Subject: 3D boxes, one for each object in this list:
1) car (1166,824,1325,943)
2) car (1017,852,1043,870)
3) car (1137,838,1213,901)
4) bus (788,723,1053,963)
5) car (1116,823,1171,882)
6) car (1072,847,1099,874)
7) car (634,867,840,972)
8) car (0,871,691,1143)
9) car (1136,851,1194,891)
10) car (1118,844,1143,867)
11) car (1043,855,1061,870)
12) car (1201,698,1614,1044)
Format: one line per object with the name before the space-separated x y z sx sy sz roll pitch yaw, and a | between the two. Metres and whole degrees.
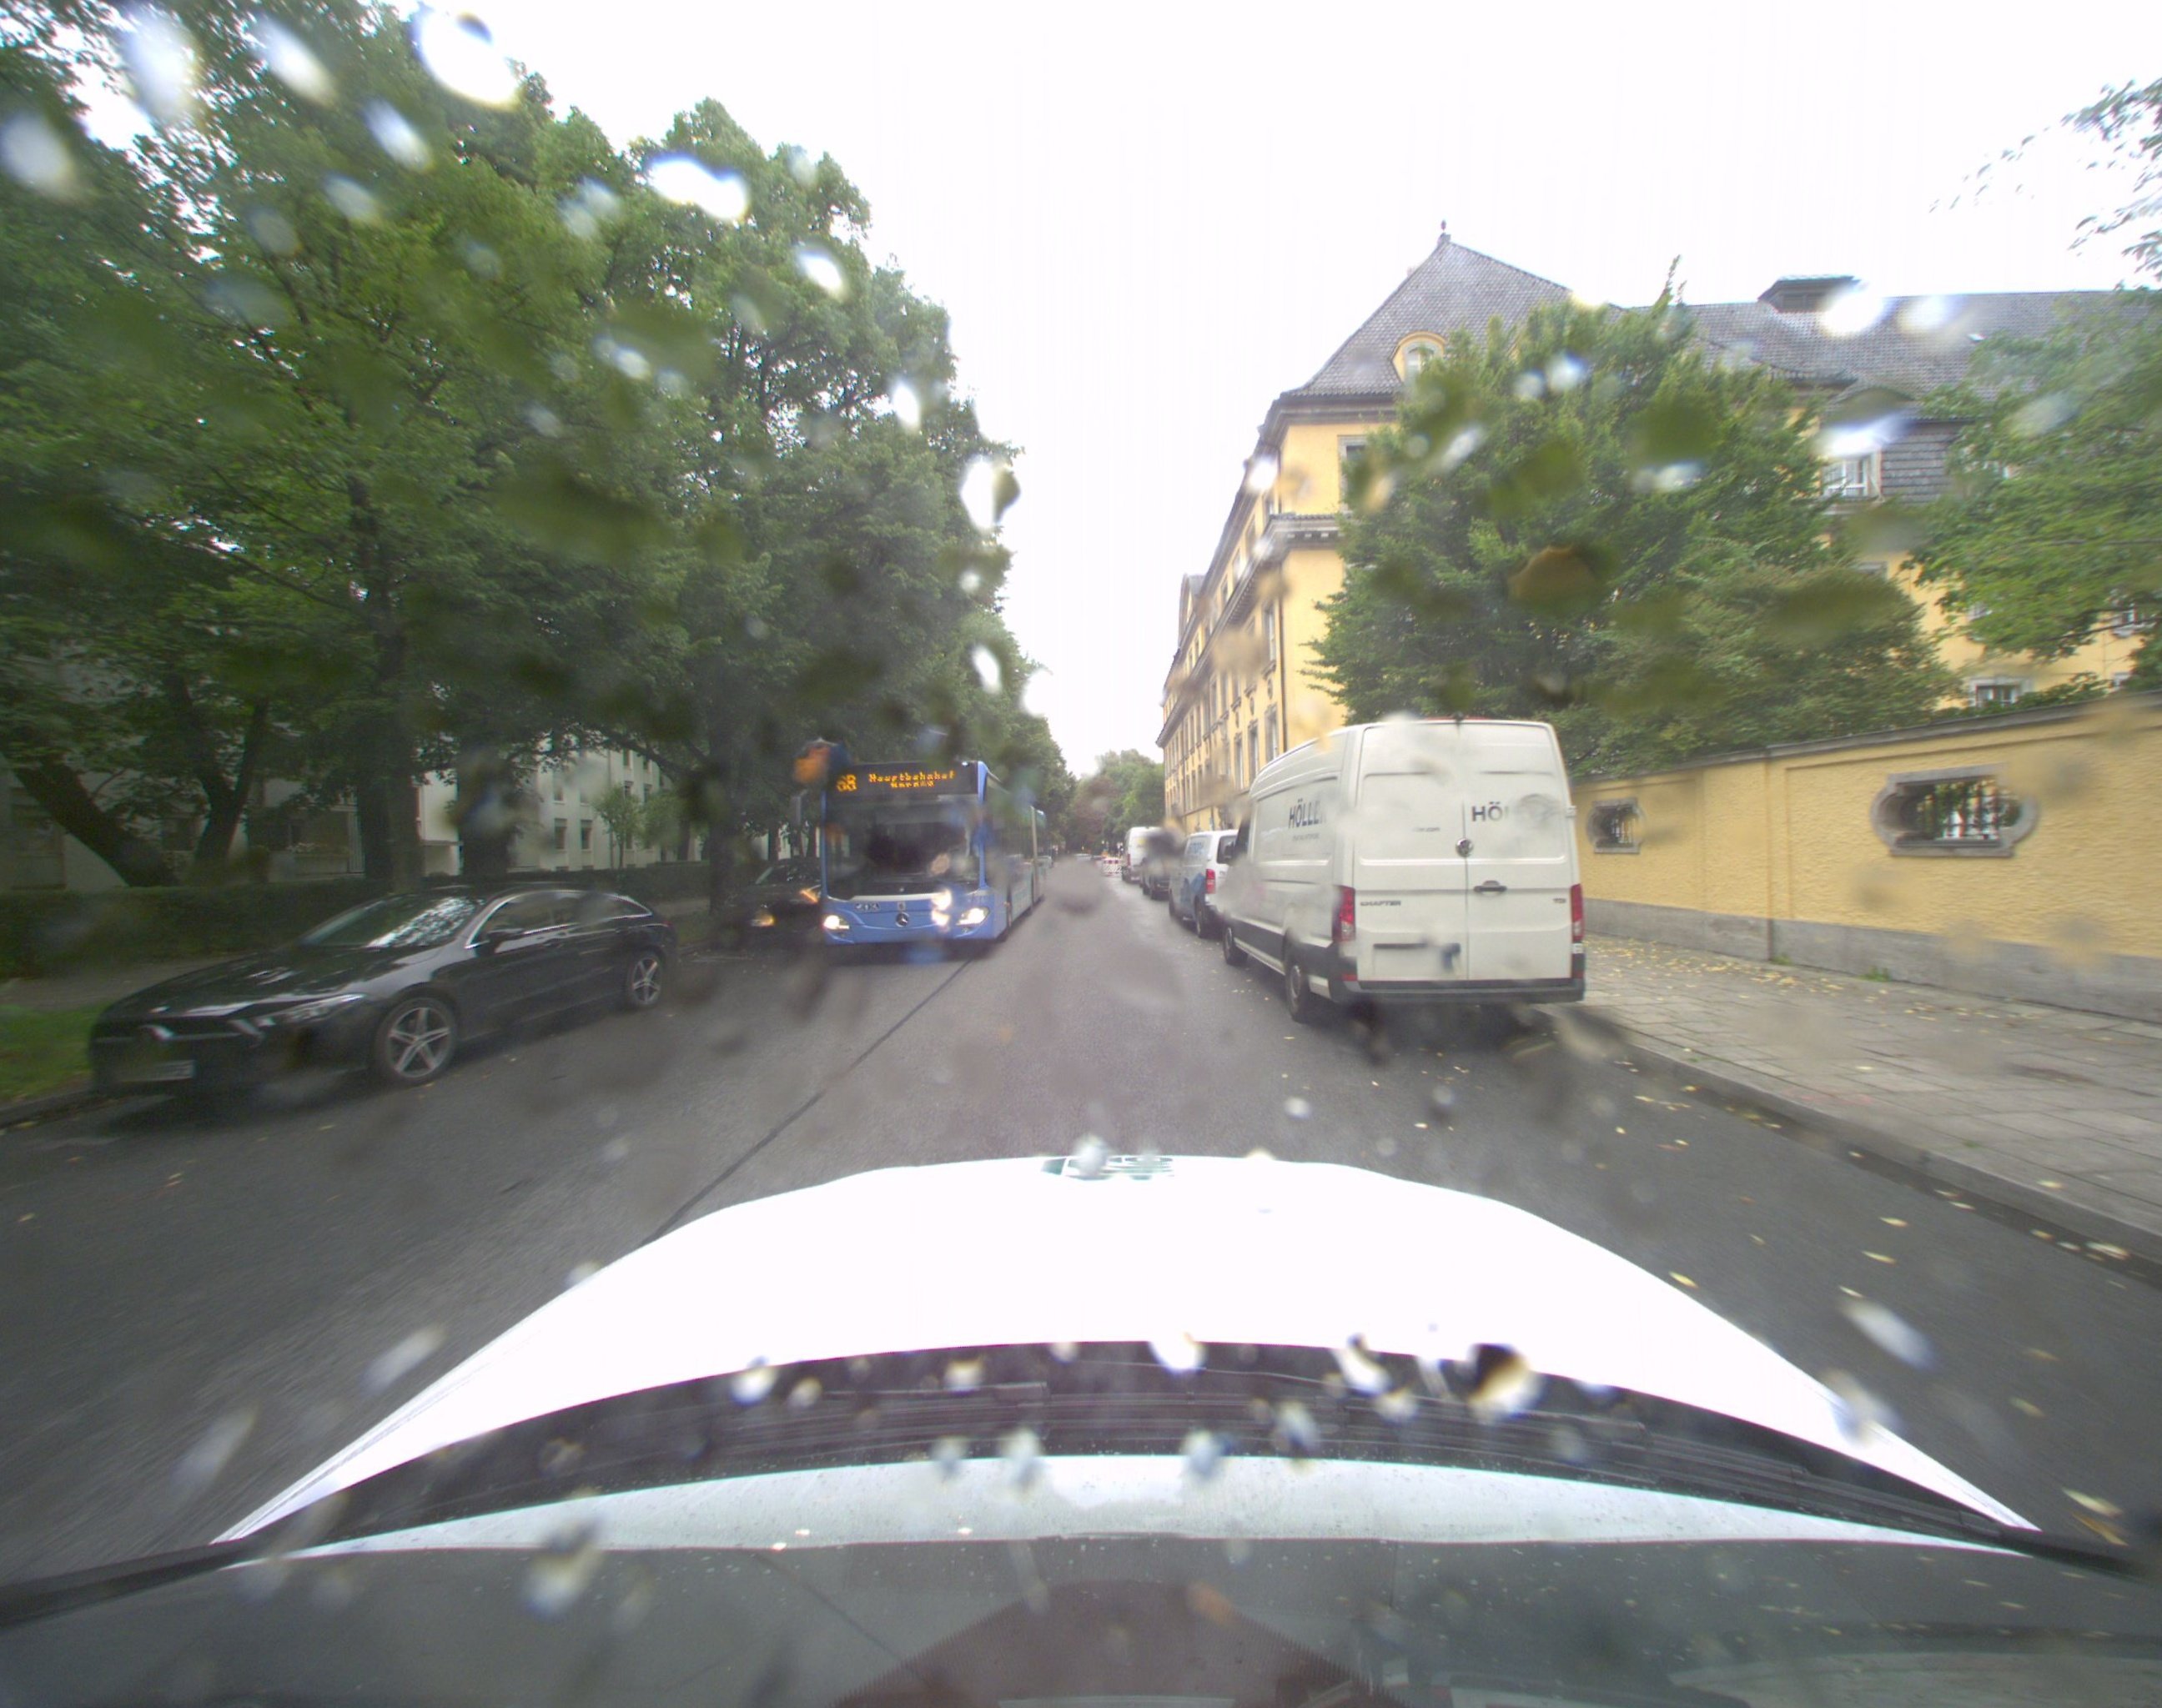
car | 2.933 0.483 15.796 2.007 1.906 5.162 0 0 0
car | -4.123 0.560 66.574 1.721 1.422 4.251 -2 0 0
car | 3.052 0.480 27.307 1.865 1.869 4.984 -2 0 -1
bus | -2.544 -0.014 20.490 2.850 3.239 18.422 -2 -1 0
car | 3.075 -0.045 41.588 2.048 2.673 7.611 -2 0 -1
car | 0.307 0.417 50.910 1.571 1.584 4.045 -2 0 2
car | -5.538 0.967 13.704 1.784 1.454 3.947 -2 -1 -1
car | -5.580 0.982 7.193 1.782 1.438 4.556 -2 1 4
car | 3.373 0.659 33.426 1.865 1.458 4.253 -2 0 -1
car | 4.032 0.173 66.238 1.734 1.750 4.355 -2 -1 0
car | -3.042 0.913 86.421 1.572 1.497 4.200 -2 0 1
car | 2.827 0.160 8.864 2.089 2.487 5.738 -2 -1 0
